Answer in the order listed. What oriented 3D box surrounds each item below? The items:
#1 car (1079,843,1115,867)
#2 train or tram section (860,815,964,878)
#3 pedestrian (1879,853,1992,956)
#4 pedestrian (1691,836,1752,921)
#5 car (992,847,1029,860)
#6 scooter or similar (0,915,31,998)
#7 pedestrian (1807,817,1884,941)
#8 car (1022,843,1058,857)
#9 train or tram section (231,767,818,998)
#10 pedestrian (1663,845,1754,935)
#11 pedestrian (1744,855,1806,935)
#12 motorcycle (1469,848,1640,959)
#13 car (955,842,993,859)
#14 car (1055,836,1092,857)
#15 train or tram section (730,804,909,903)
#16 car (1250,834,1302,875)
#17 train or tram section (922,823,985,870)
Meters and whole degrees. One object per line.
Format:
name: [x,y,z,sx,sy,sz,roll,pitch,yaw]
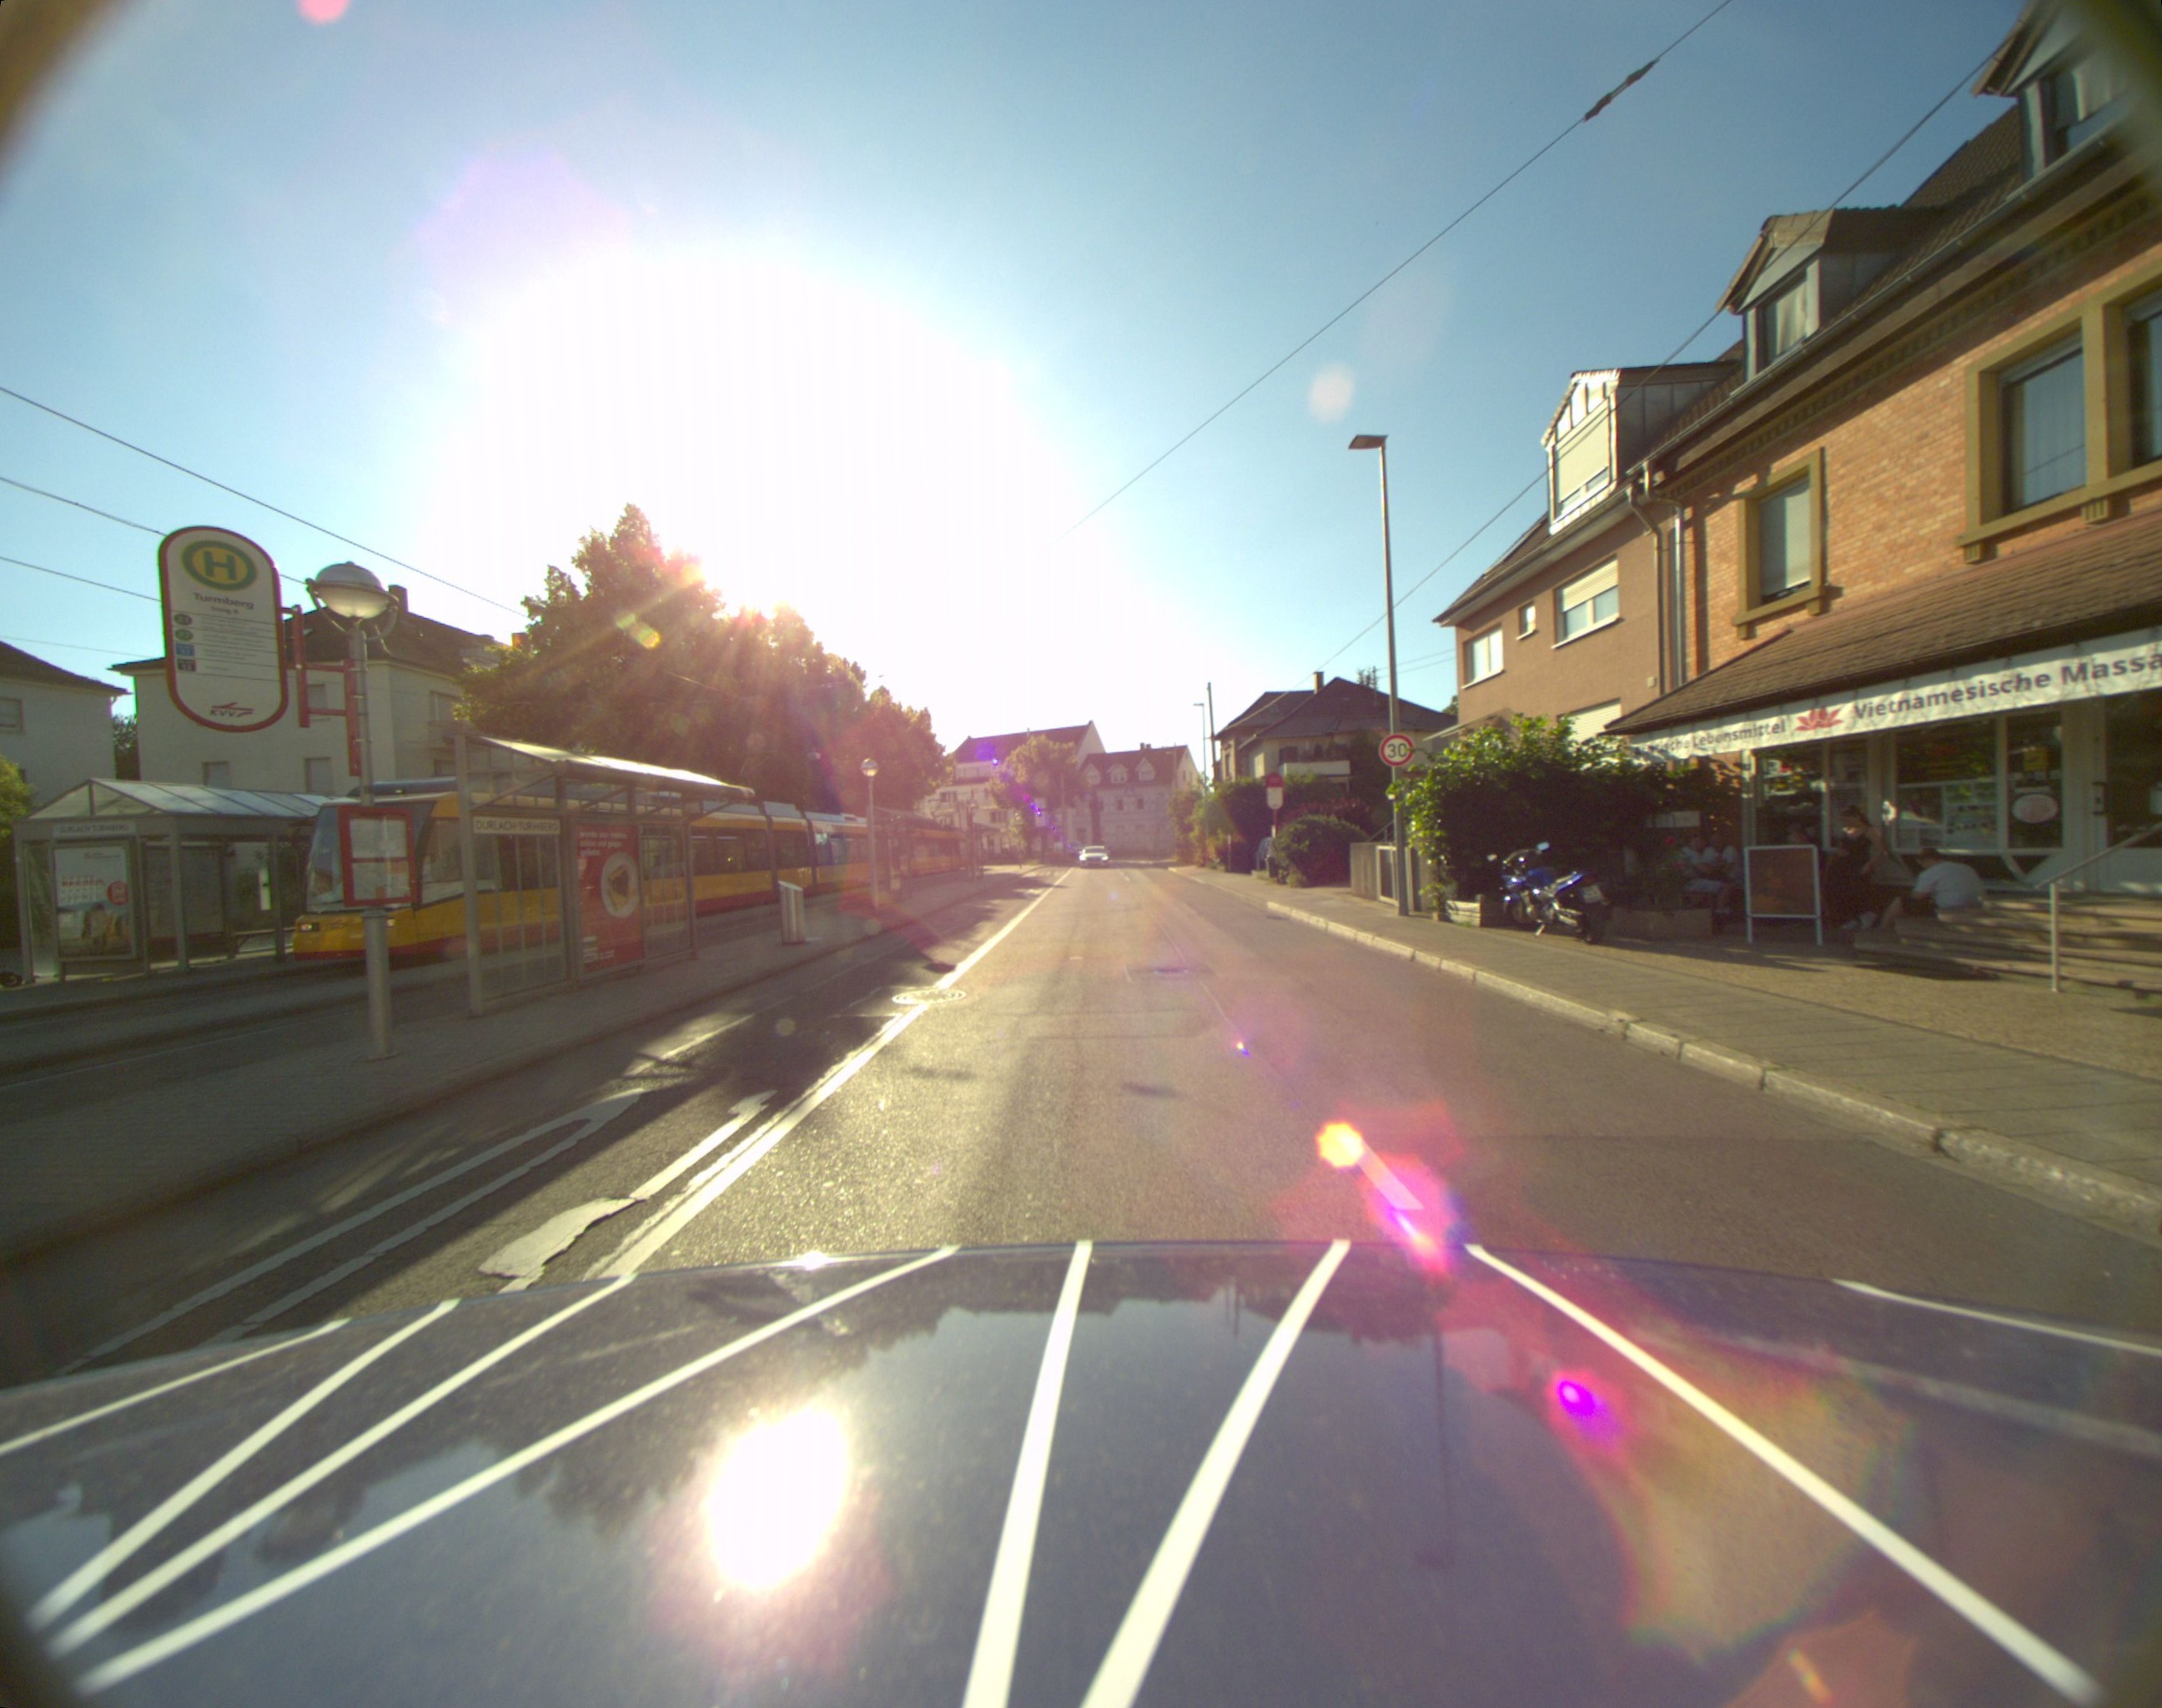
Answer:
car: [1.092,0.062,50.288,1.998,1.454,4.450,-2,0,6]
train or tram section: [-10.454,-0.482,49.451,2.964,3.402,15.938,-2,1,1]
pedestrian: [9.649,0.551,8.599,0.564,1.103,0.632,-2,1,2]
pedestrian: [9.808,0.363,11.647,0.524,1.251,0.465,-2,1,3]
car: [-8.856,-0.102,95.231,4.115,1.339,1.938,-3,1,29]
scooter or similar: [-16.273,1.544,10.939,0.466,1.201,1.210,-2,1,13]
pedestrian: [9.809,0.311,9.760,0.465,1.552,0.502,-1,2,3]
car: [-5.008,-0.456,92.353,4.196,1.454,1.610,-4,1,33]
train or tram section: [-11.369,0.219,19.739,2.964,3.514,15.966,-2,2,2]
pedestrian: [9.050,0.499,10.979,0.746,1.237,0.667,-2,1,5]
pedestrian: [9.448,0.542,10.349,0.525,1.041,0.383,-3,1,-15]
motorcycle: [6.308,0.589,10.316,0.841,1.275,2.231,-3,1,-1]
car: [-13.630,-0.453,97.092,4.263,1.945,2.003,-1,1,21]
car: [-0.846,-0.723,78.712,1.874,1.922,4.783,-4,0,-26]
train or tram section: [-10.963,-0.211,34.185,2.964,3.514,13.461,-2,2,2]
car: [9.498,-0.017,37.255,1.704,1.804,3.671,4,1,3]
train or tram section: [-10.405,-0.618,63.747,2.965,3.402,13.461,-2,1,0]
